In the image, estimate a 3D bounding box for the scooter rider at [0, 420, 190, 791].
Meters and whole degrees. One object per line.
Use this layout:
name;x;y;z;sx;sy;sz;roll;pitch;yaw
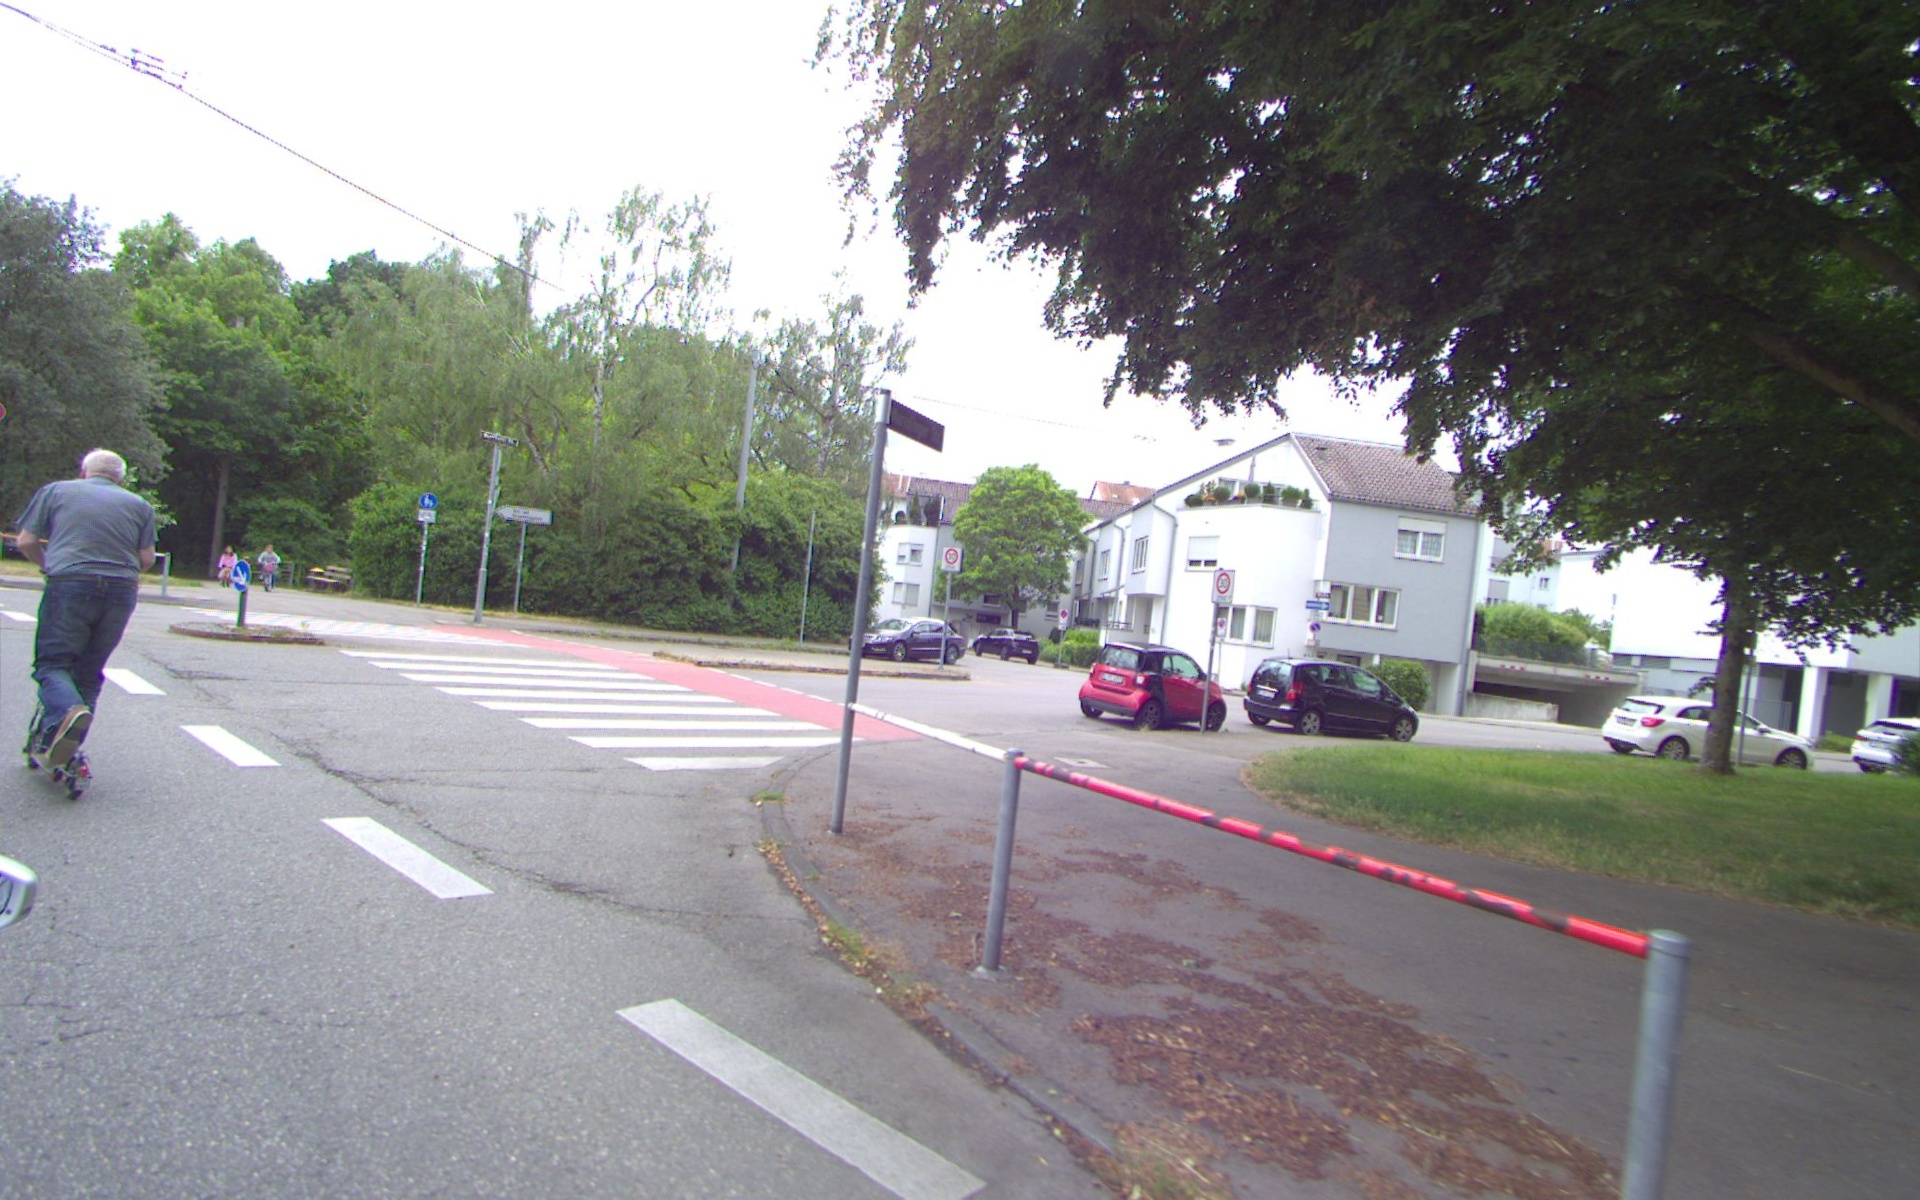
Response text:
scooter rider;-4.723;0.017;5.374;1.181;1.751;0.680;7;0;45

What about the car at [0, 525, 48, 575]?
car;-31.867;-1.777;32.121;1.551;1.493;3.721;5;-2;33

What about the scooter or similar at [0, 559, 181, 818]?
scooter or similar;-4.782;0.421;5.403;1.441;1.153;0.680;6;0;45

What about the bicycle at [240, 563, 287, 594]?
bicycle;-20.021;-0.622;28.914;1.657;0.768;0.639;5;-1;39

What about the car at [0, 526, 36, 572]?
car;-33.851;-1.923;33.535;1.548;1.493;4.148;4;-3;24

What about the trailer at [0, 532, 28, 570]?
trailer;-35.781;-1.916;35.823;1.588;1.281;3.411;4;-3;26

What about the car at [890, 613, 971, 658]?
car;-1.277;1.448;41.841;1.787;1.504;3.645;7;-2;-29

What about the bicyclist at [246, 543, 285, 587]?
bicyclist;-19.960;-0.999;28.902;0.792;1.176;0.639;5;0;39

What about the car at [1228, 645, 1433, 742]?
car;8.006;2.012;21.790;3.771;1.609;1.812;7;-2;-19

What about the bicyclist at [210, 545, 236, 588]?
bicyclist;-21.812;-0.978;29.782;0.514;1.201;0.959;5;-2;-35

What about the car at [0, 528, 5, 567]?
car;-37.793;-2.170;36.952;1.563;1.493;3.535;5;-2;23

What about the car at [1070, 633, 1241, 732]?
car;3.811;1.612;19.485;2.900;1.524;1.677;8;-1;-40

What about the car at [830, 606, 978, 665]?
car;-1.740;1.200;32.831;2.010;1.456;4.781;6;-2;40

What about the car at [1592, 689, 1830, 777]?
car;17.047;2.998;22.980;3.995;1.452;1.795;5;0;0

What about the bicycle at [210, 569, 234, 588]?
bicycle;-21.843;-0.629;29.785;0.514;0.503;0.980;5;-2;-35

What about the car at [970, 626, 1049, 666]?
car;2.321;2.193;48.579;1.912;1.563;4.038;7;-2;-27

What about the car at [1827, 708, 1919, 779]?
car;22.976;3.454;23.398;3.995;1.371;1.795;5;0;0
